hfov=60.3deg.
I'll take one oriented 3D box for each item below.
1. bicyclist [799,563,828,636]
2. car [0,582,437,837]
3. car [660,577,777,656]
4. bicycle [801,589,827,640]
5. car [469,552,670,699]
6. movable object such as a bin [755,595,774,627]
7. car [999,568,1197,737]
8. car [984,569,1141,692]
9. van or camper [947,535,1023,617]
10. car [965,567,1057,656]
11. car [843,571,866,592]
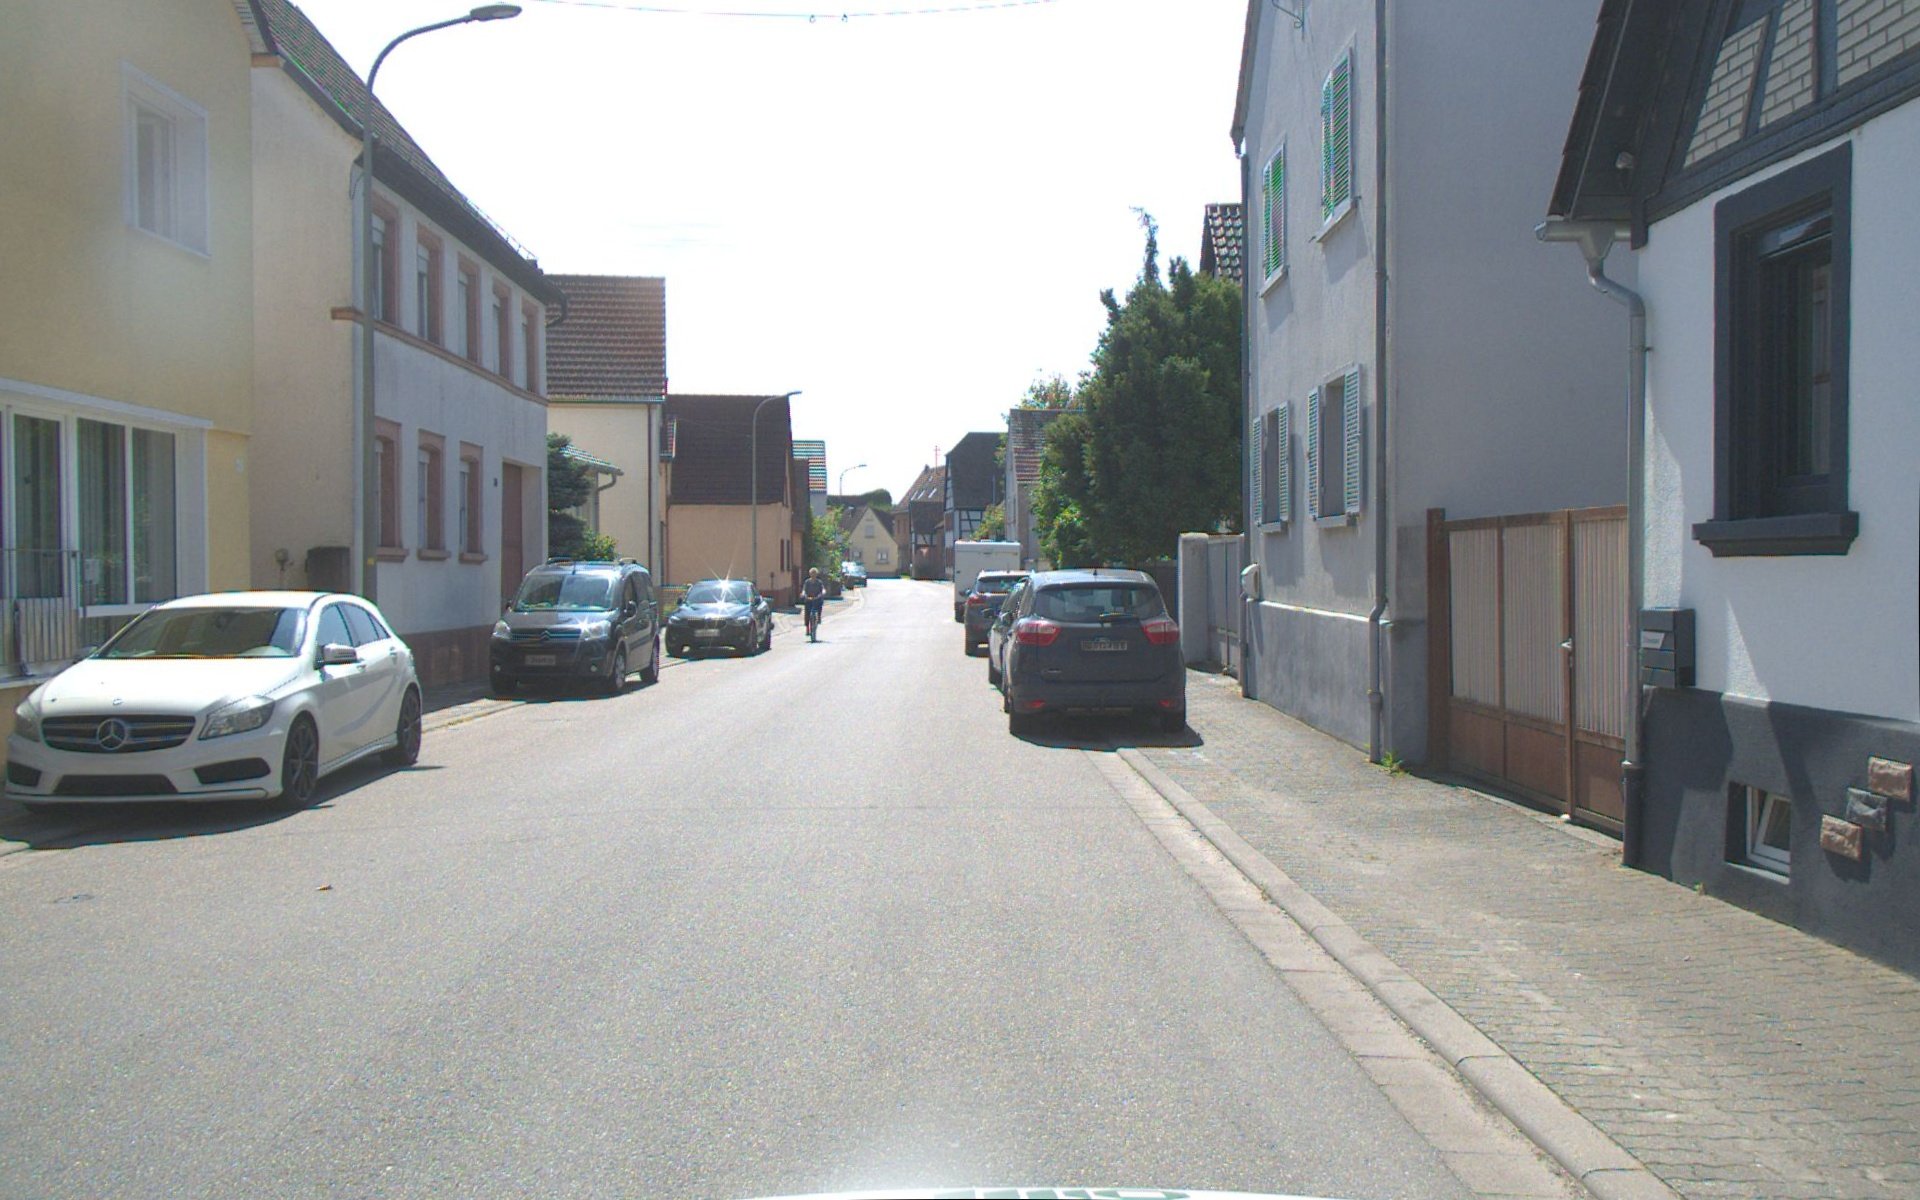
[{"bbox_3d":[-3.638,-0.022,41.113,0.690,1.801,0.624,-1,1,-5],"label":"bicyclist"},{"bbox_3d":[-5.333,0.644,12.221,1.798,1.489,4.267,-1,1,-4],"label":"car"},{"bbox_3d":[-5.096,0.297,35.502,1.806,1.553,4.765,0,1,0],"label":"car"},{"bbox_3d":[-3.592,0.343,40.810,0.577,1.168,1.947,-2,1,-4],"label":"bicycle"},{"bbox_3d":[-5.461,0.290,23.680,1.797,1.869,4.354,-1,1,0],"label":"car"},{"bbox_3d":[-5.974,0.334,50.561,0.528,0.966,0.553,0,1,-1],"label":"movable object such as a bin"},{"bbox_3d":[1.367,0.464,18.042,1.761,1.587,4.631,-1,1,0],"label":"car"},{"bbox_3d":[1.340,0.354,23.321,1.783,1.534,4.580,-1,1,-2],"label":"car"},{"bbox_3d":[0.836,-0.848,58.355,2.471,2.744,4.554,-1,1,-2],"label":"van or camper"},{"bbox_3d":[1.085,0.182,34.307,1.756,1.659,4.363,-1,1,3],"label":"car"},{"bbox_3d":[-7.651,-1.343,120.344,1.481,1.461,3.511,-2,1,-1],"label":"car"}]
